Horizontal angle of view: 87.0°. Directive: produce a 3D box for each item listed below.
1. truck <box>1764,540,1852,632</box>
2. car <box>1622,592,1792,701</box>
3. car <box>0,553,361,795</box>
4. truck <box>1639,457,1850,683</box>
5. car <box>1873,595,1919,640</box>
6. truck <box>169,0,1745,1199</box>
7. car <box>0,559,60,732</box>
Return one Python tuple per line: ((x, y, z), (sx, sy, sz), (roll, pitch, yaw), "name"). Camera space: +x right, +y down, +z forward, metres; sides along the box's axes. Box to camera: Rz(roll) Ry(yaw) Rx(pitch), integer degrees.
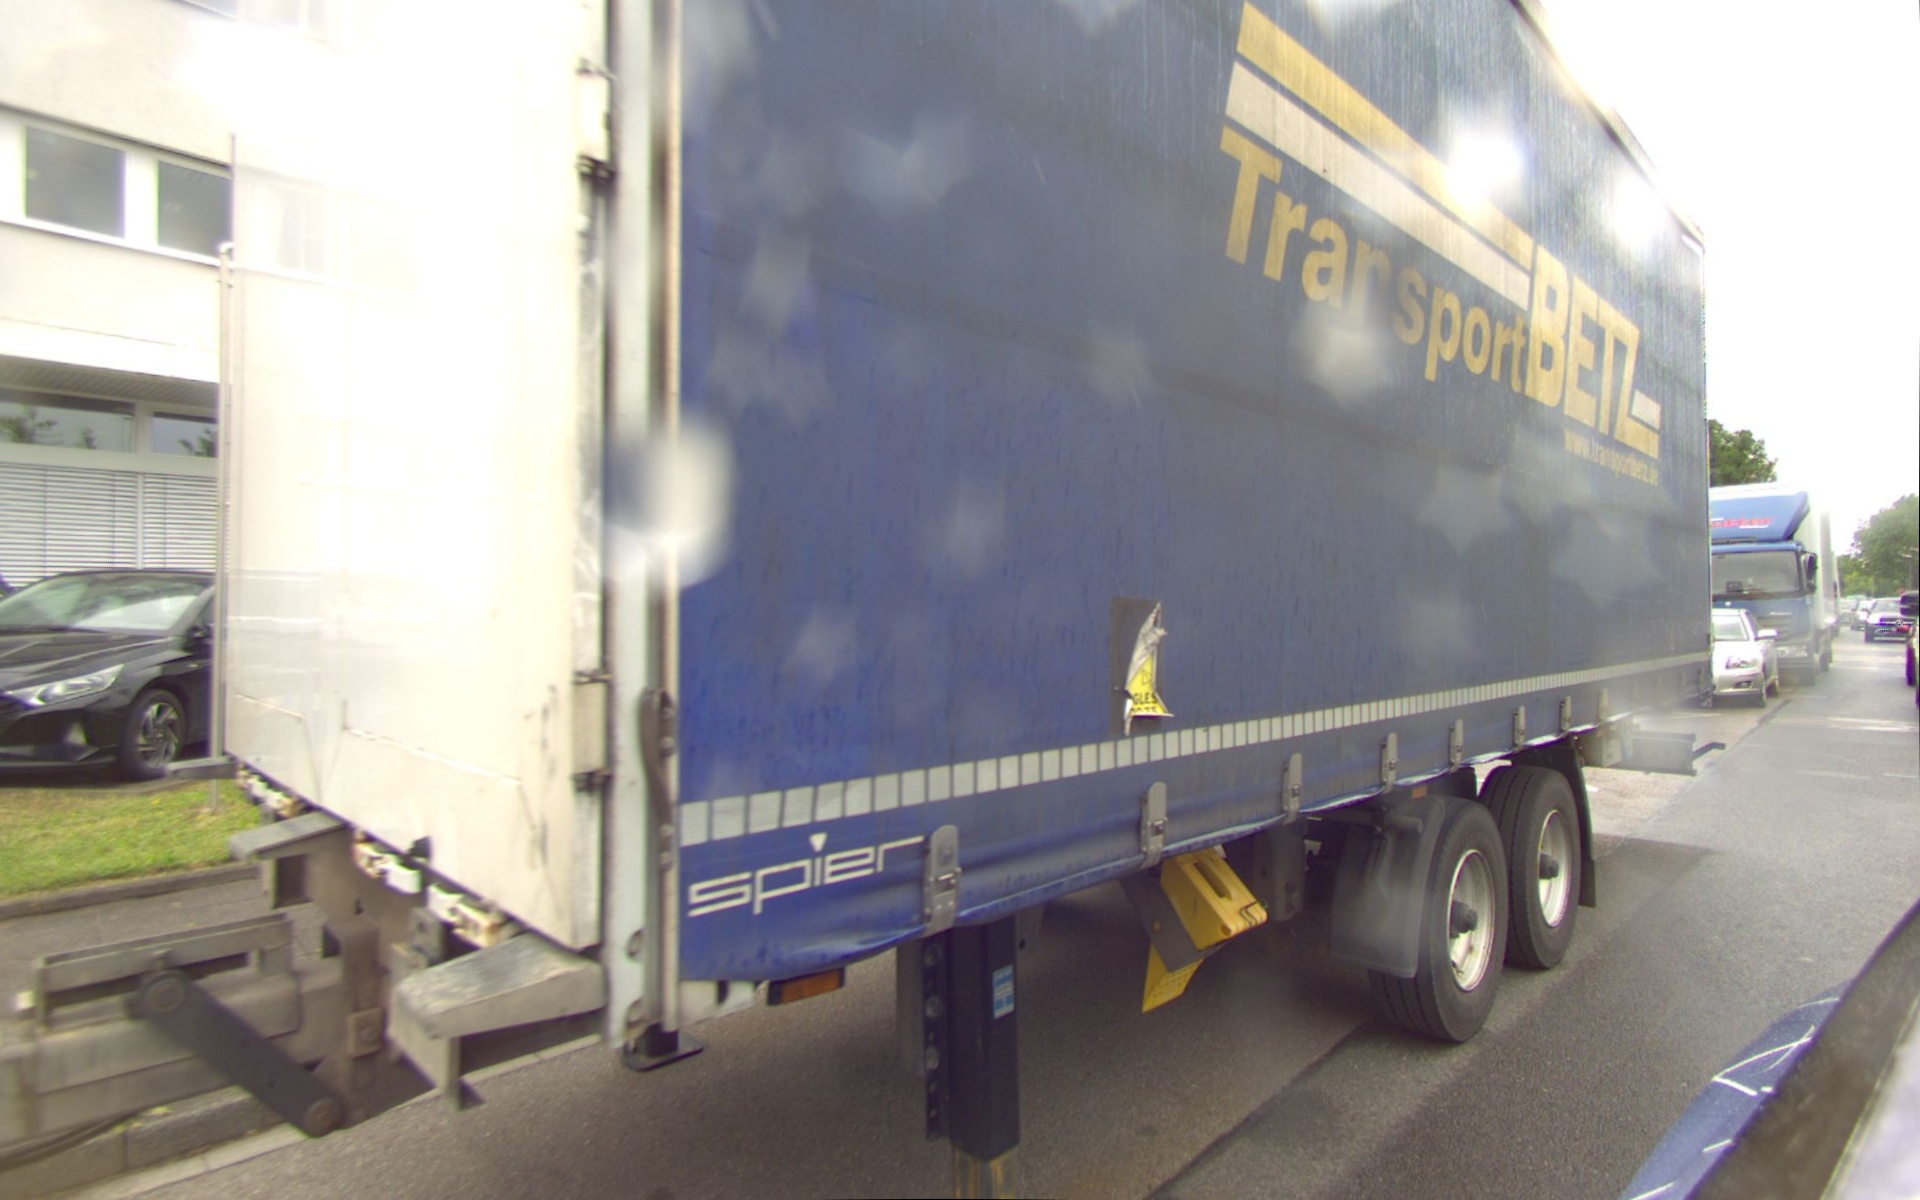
((37.753, -0.561, 44.941), (2.669, 3.739, 7.888), (-2, -1, 42), "truck")
((11.972, 0.626, 16.113), (1.796, 1.459, 4.279), (2, 1, 42), "car")
((-6.376, 0.485, 7.757), (1.692, 1.415, 3.784), (1, -2, -8), "car")
((16.924, -0.502, 21.508), (2.739, 3.838, 9.156), (-2, -1, 42), "truck")
((34.741, 0.615, 36.878), (1.991, 1.583, 3.942), (1, 1, 40), "car")
((1.306, -0.422, 4.713), (2.741, 3.657, 7.625), (-2, -1, 45), "truck")
((-8.558, 0.333, 6.784), (1.656, 1.434, 4.155), (2, -1, -7), "car")
